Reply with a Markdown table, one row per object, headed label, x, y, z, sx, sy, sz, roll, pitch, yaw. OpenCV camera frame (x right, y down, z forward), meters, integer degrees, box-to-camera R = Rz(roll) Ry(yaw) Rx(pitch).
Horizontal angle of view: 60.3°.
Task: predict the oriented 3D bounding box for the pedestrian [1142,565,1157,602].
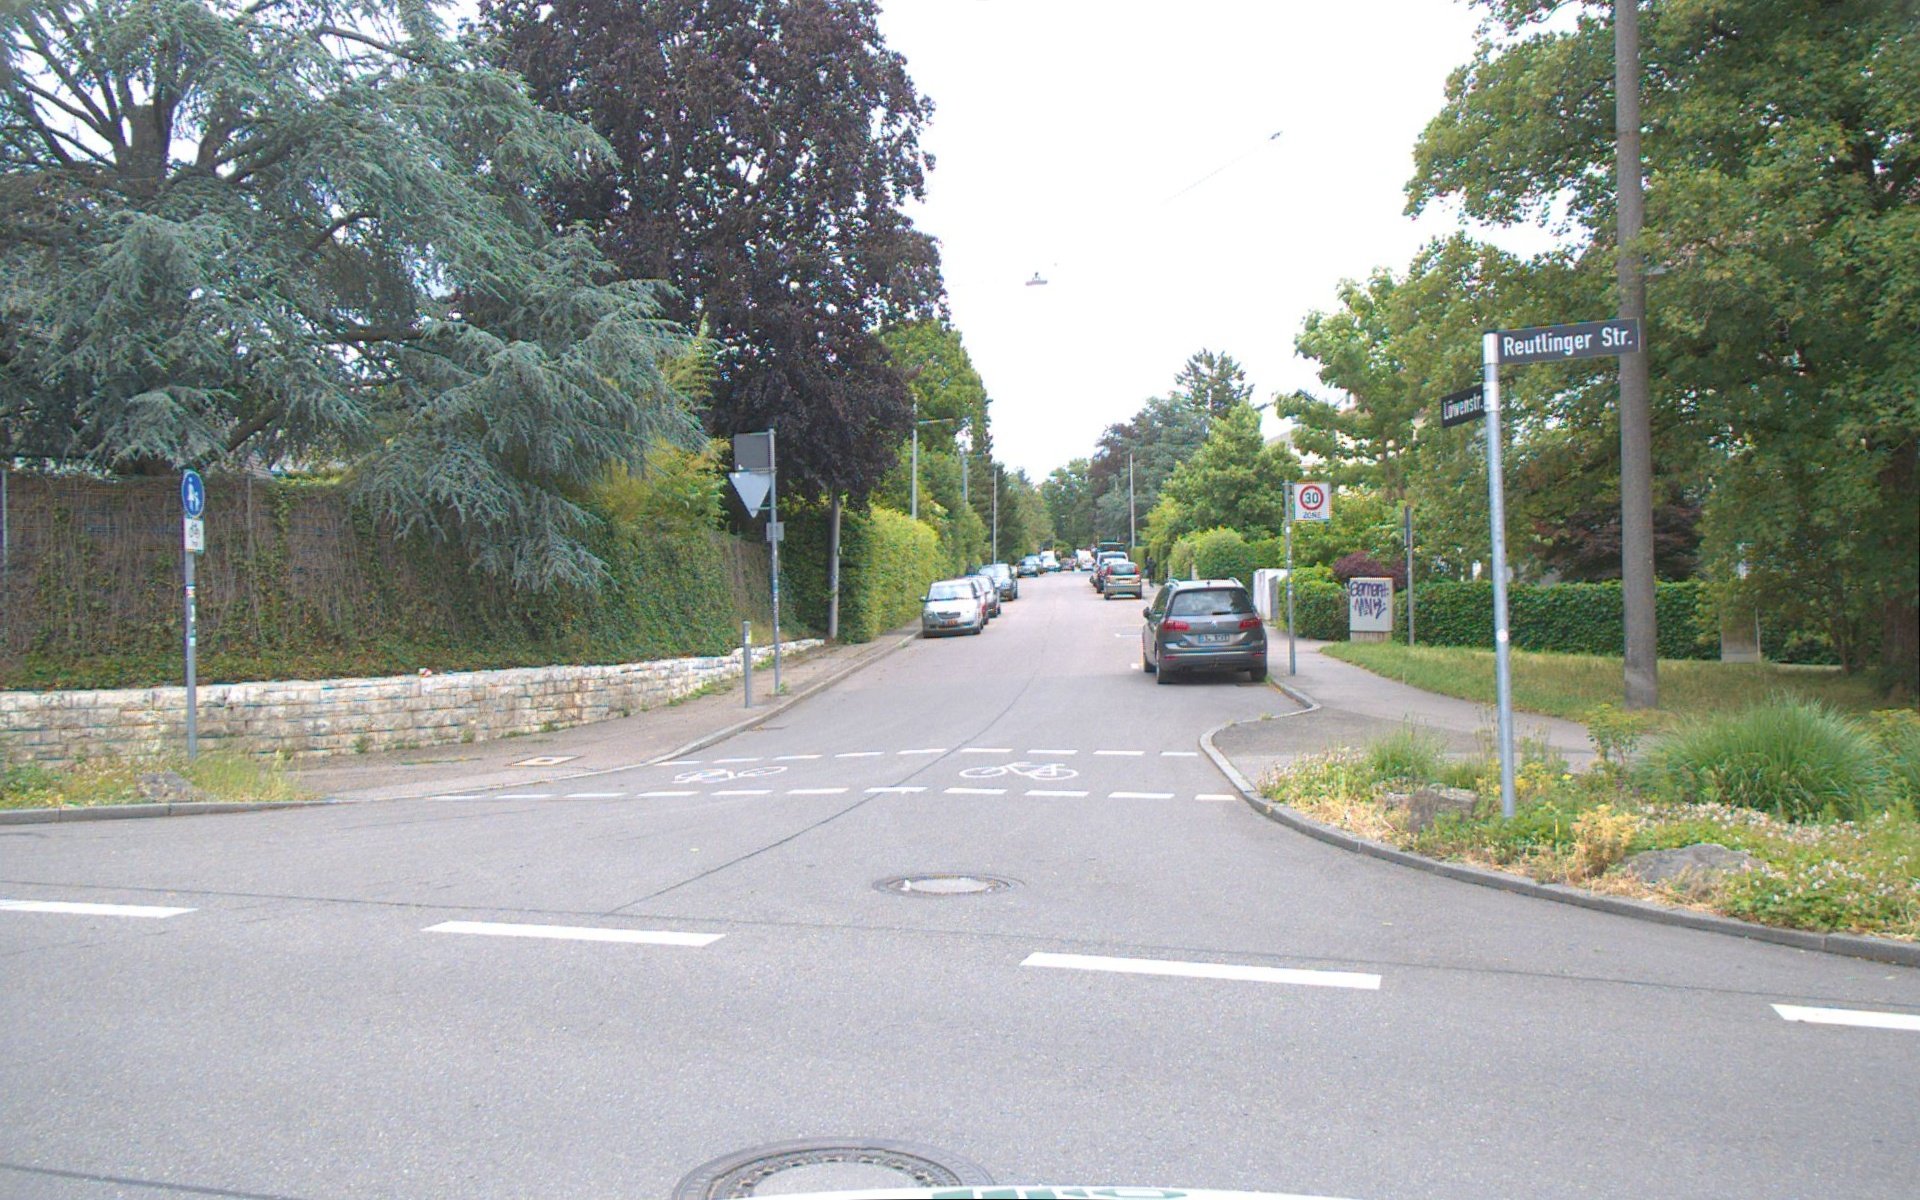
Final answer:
| label | x | y | z | sx | sy | sz | roll | pitch | yaw |
| --- | --- | --- | --- | --- | --- | --- | --- | --- | --- |
| pedestrian | 9.839 | -0.878 | 85.819 | 0.741 | 1.904 | 0.620 | 1 | 0 | 3 |

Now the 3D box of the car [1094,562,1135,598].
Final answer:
| label | x | y | z | sx | sy | sz | roll | pitch | yaw |
| --- | --- | --- | --- | --- | --- | --- | --- | --- | --- |
| car | 7.417 | -0.957 | 79.544 | 1.711 | 1.668 | 3.729 | -2 | 0 | 2 |

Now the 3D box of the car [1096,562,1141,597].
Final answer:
| label | x | y | z | sx | sy | sz | roll | pitch | yaw |
| --- | --- | --- | --- | --- | --- | --- | --- | --- | --- |
| car | 6.718 | -0.867 | 70.309 | 1.576 | 1.438 | 3.473 | 1 | 1 | 1 |

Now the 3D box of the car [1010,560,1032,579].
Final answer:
| label | x | y | z | sx | sy | sz | roll | pitch | yaw |
| --- | --- | --- | --- | --- | --- | --- | --- | --- | --- |
| car | 5.010 | -2.472 | 135.464 | 1.679 | 1.488 | 3.658 | 1 | 1 | 3 |

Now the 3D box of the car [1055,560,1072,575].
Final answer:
| label | x | y | z | sx | sy | sz | roll | pitch | yaw |
| --- | --- | --- | --- | --- | --- | --- | --- | --- | --- |
| car | 11.378 | -3.577 | 182.599 | 1.777 | 1.601 | 4.002 | -2 | 0 | 3 |

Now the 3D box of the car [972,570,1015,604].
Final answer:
| label | x | y | z | sx | sy | sz | roll | pitch | yaw |
| --- | --- | --- | --- | --- | --- | --- | --- | --- | --- |
| car | 1.542 | -0.590 | 75.348 | 1.906 | 1.467 | 4.001 | -1 | 1 | 1 |

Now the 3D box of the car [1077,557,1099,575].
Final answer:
| label | x | y | z | sx | sy | sz | roll | pitch | yaw |
| --- | --- | --- | --- | --- | --- | --- | --- | --- | --- |
| car | 13.793 | -3.675 | 178.261 | 1.900 | 1.827 | 4.194 | 1 | 1 | -1 |

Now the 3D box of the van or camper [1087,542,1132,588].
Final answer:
| label | x | y | z | sx | sy | sz | roll | pitch | yaw |
| --- | --- | --- | --- | --- | --- | --- | --- | --- | --- |
| van or camper | 8.293 | -1.909 | 92.167 | 2.069 | 2.447 | 5.247 | -1 | 0 | 1 |

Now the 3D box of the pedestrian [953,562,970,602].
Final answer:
| label | x | y | z | sx | sy | sz | roll | pitch | yaw |
| --- | --- | --- | --- | --- | --- | --- | --- | --- | --- |
| pedestrian | 0.077 | -0.916 | 84.693 | 0.836 | 2.049 | 0.872 | 1 | 0 | -2 |

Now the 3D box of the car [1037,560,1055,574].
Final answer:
| label | x | y | z | sx | sy | sz | roll | pitch | yaw |
| --- | --- | --- | --- | --- | --- | --- | --- | --- | --- |
| car | 8.325 | -3.200 | 159.900 | 1.620 | 1.358 | 3.783 | 1 | 1 | 4 |

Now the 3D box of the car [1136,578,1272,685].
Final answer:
| label | x | y | z | sx | sy | sz | roll | pitch | yaw |
| --- | --- | --- | --- | --- | --- | --- | --- | --- | --- |
| car | 3.909 | 0.453 | 27.067 | 1.779 | 1.563 | 4.002 | -2 | 0 | 3 |

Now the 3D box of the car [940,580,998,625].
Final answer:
| label | x | y | z | sx | sy | sz | roll | pitch | yaw |
| --- | --- | --- | --- | --- | --- | --- | --- | --- | --- |
| car | 0.355 | 0.060 | 57.788 | 1.906 | 1.467 | 4.001 | -1 | 1 | 1 |

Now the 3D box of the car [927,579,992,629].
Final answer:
| label | x | y | z | sx | sy | sz | roll | pitch | yaw |
| --- | --- | --- | --- | --- | --- | --- | --- | --- | --- |
| car | 0.021 | 0.098 | 52.300 | 1.906 | 1.467 | 4.001 | -1 | 1 | 1 |

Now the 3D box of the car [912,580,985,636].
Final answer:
| label | x | y | z | sx | sy | sz | roll | pitch | yaw |
| --- | --- | --- | --- | --- | --- | --- | --- | --- | --- |
| car | -0.287 | 0.200 | 47.157 | 1.906 | 1.467 | 4.001 | -1 | 1 | 1 |
